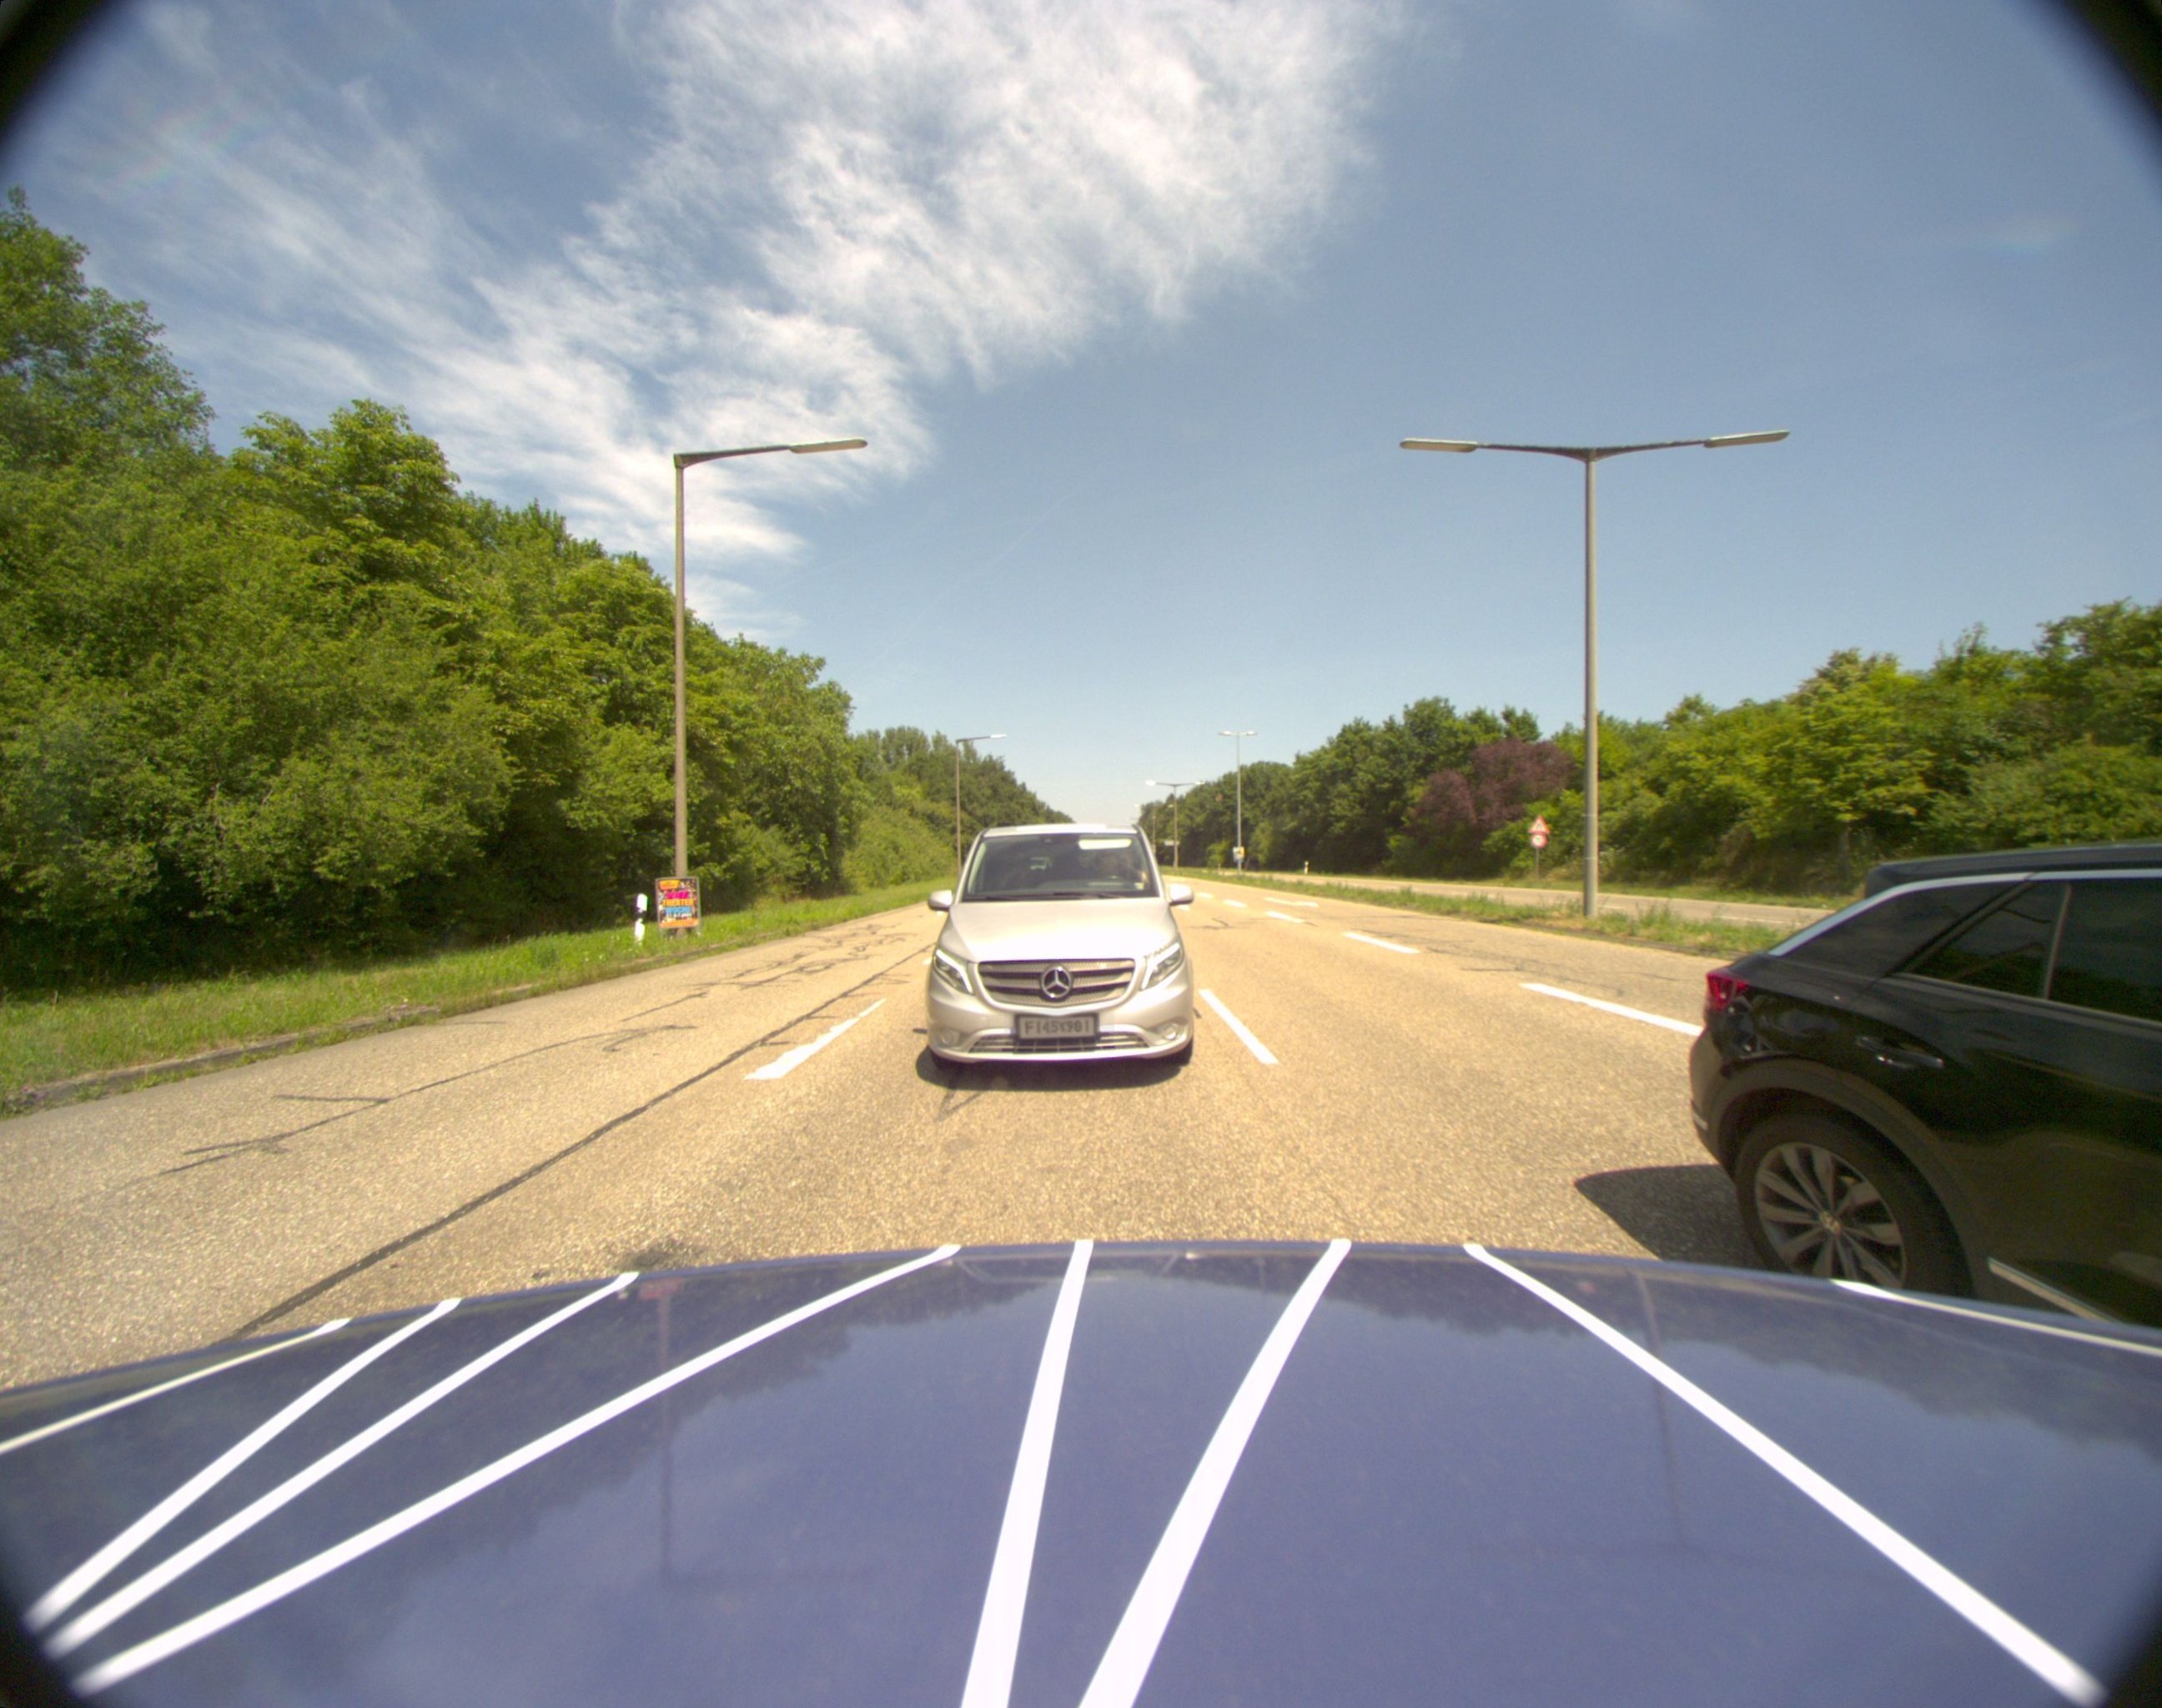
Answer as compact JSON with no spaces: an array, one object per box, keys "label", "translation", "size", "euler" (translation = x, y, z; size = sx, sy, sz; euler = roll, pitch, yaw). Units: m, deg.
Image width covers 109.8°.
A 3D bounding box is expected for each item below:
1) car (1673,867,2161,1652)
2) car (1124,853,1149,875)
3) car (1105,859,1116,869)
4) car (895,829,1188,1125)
[{"label":"car","translation":[3.035,0.853,0.801],"size":[1.739,1.503,3.970],"euler":[-2,1,1]},{"label":"car","translation":[4.845,0.878,66.583],"size":[1.736,1.815,4.321],"euler":[-1,0,-1]},{"label":"car","translation":[5.550,1.811,144.443],"size":[1.736,1.815,4.321],"euler":[-1,0,-1]},{"label":"car","translation":[-0.214,0.770,7.175],"size":[1.764,1.794,4.855],"euler":[-2,0,1]}]
